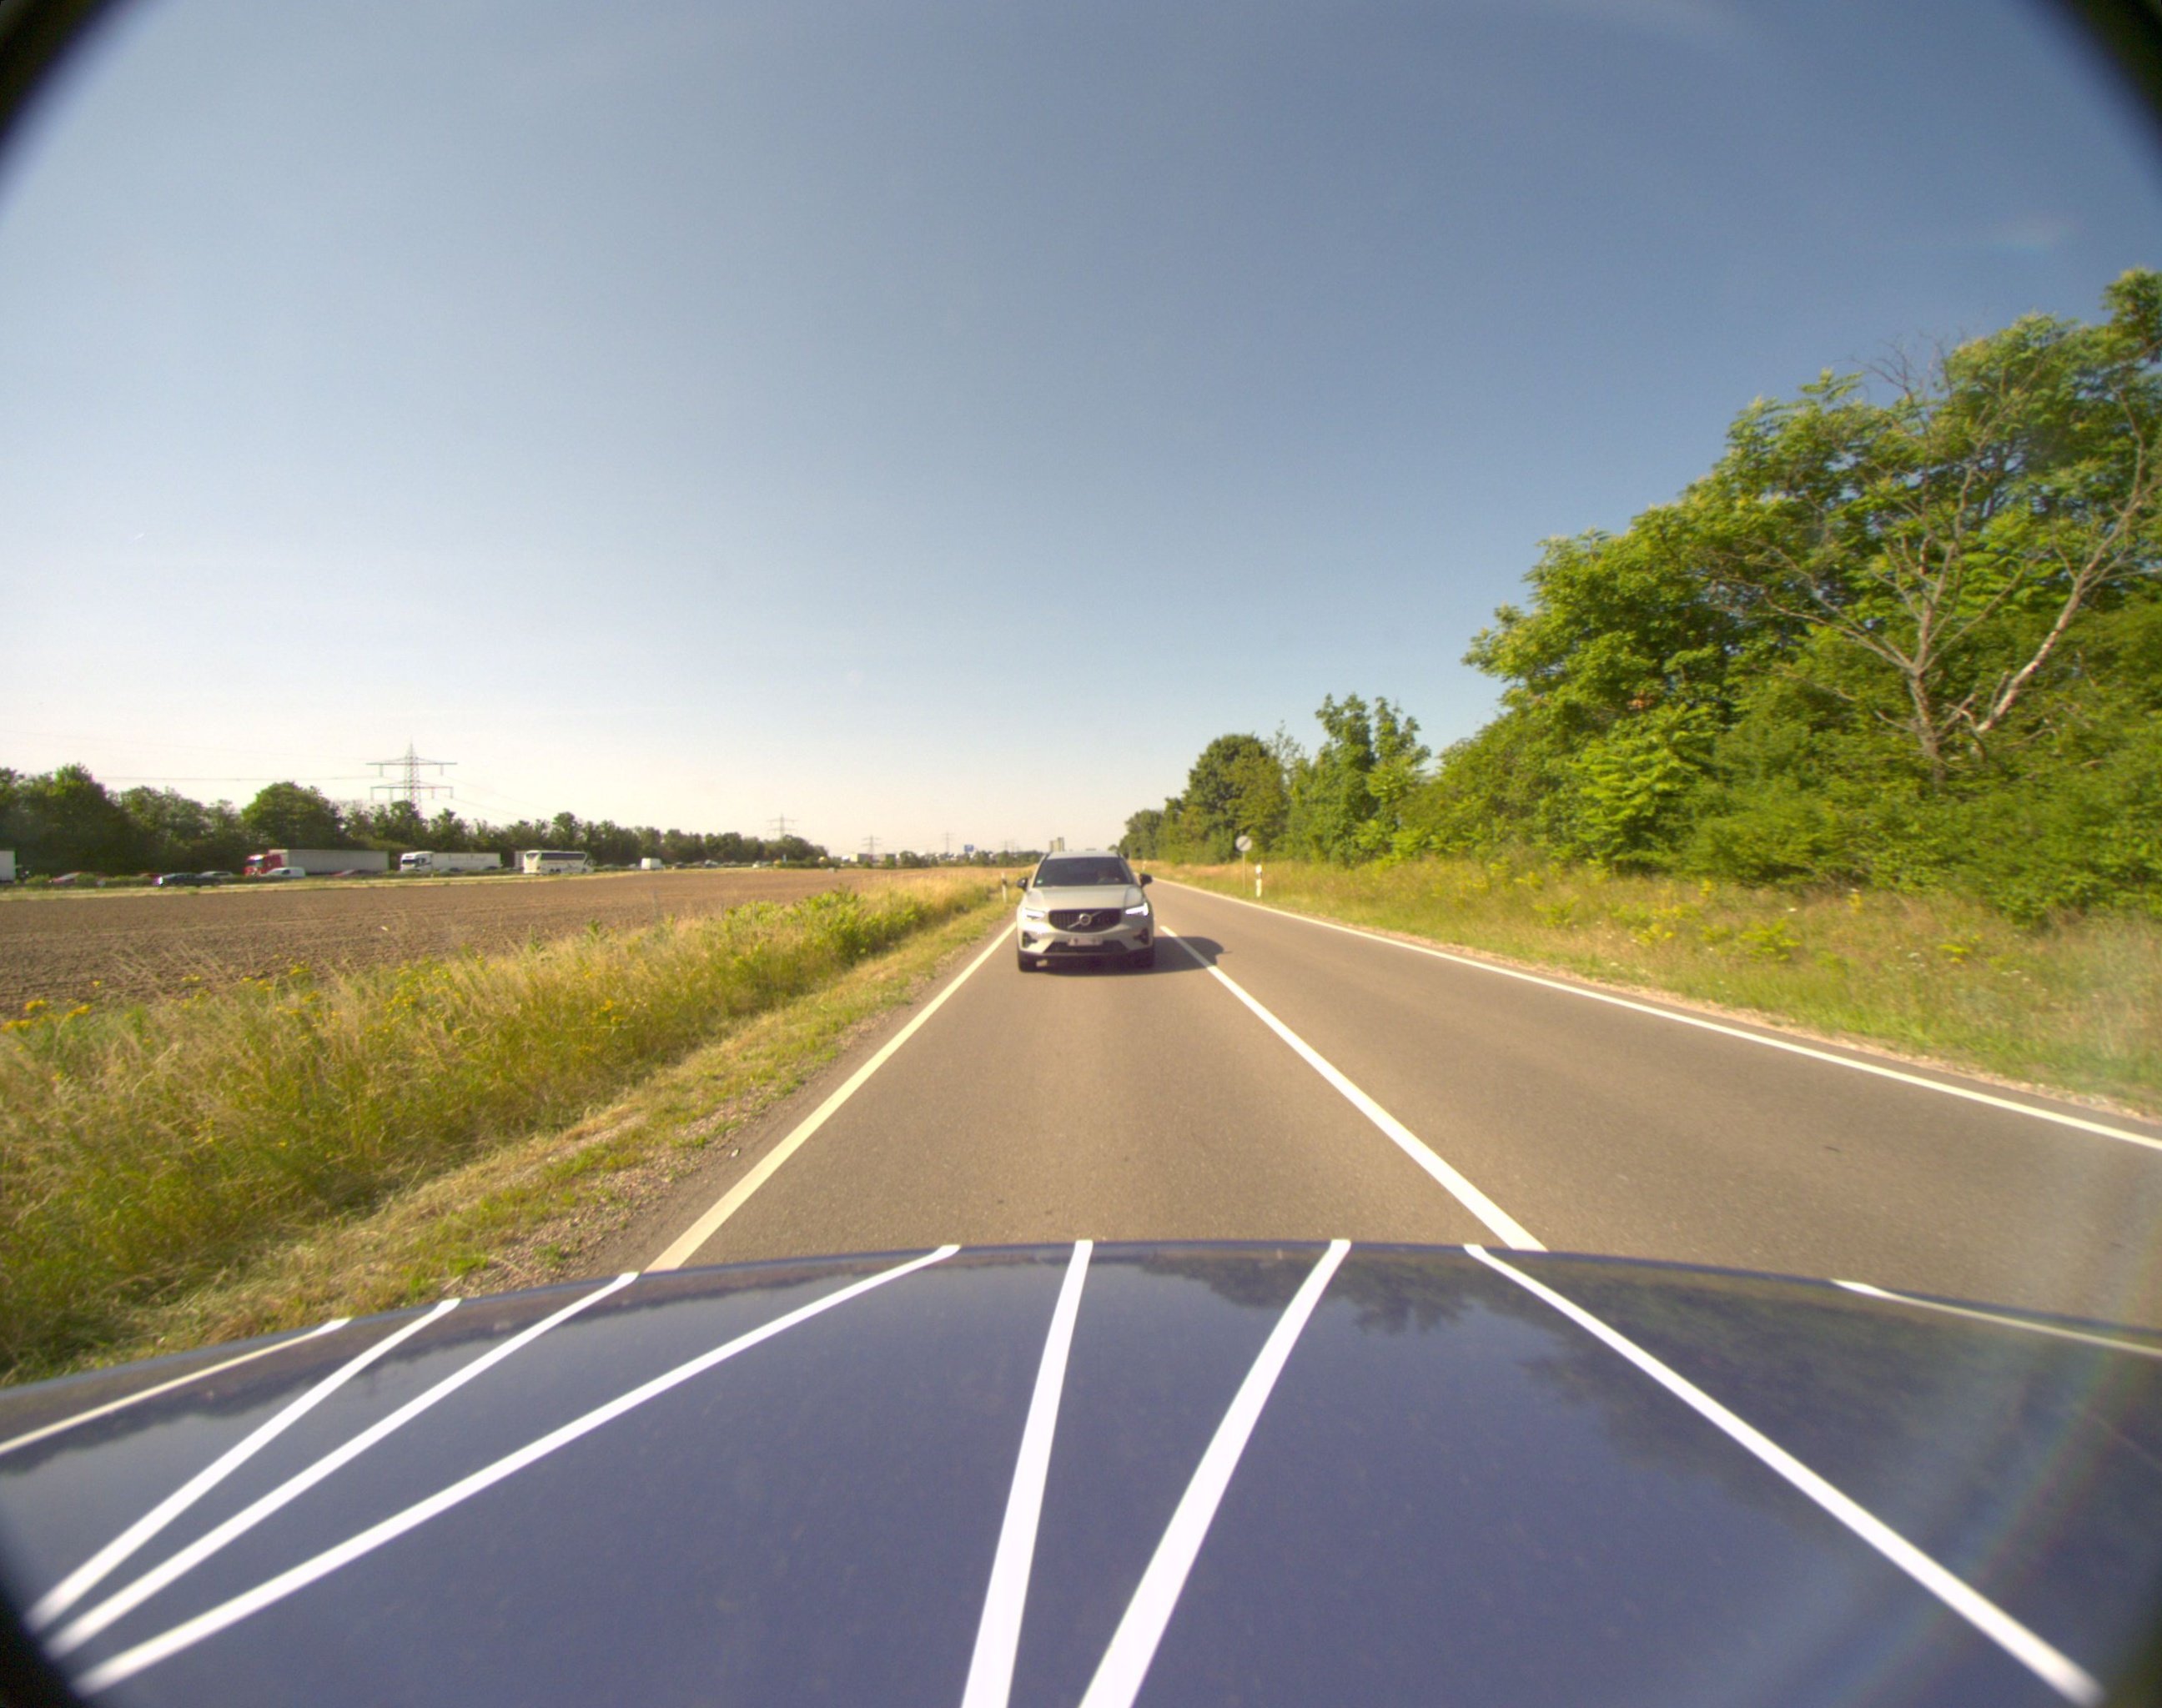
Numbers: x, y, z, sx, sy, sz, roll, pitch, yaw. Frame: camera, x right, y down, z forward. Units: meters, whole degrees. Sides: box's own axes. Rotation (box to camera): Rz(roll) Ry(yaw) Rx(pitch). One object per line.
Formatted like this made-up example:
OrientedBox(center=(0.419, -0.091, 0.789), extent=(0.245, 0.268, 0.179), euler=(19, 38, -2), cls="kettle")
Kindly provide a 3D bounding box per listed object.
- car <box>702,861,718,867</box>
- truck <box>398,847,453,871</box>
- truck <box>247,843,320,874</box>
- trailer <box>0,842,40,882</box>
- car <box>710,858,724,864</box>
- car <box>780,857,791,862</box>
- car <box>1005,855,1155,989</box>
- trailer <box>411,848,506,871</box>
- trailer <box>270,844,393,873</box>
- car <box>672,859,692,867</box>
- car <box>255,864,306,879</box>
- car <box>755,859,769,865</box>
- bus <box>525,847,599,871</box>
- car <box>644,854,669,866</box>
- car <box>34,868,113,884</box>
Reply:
OrientedBox(center=(-86.683, 2.364, 177.639), extent=(1.707, 1.366, 4.094), euler=(-3, 0, 1), cls="car")
OrientedBox(center=(-101.191, 0.779, 117.360), extent=(3.210, 3.510, 6.108), euler=(0, 0, 0), cls="truck")
OrientedBox(center=(-101.453, 0.559, 96.811), extent=(2.953, 3.711, 5.869), euler=(-1, 0, 0), cls="truck")
OrientedBox(center=(-101.336, 0.780, 66.054), extent=(3.079, 3.711, 13.367), euler=(-1, 0, 1), cls="trailer")
OrientedBox(center=(-98.903, 1.938, 206.473), extent=(1.707, 1.500, 4.094), euler=(-3, 0, 0), cls="car")
OrientedBox(center=(-92.620, 1.837, 237.970), extent=(1.707, 1.500, 4.094), euler=(-3, 0, 0), cls="car")
OrientedBox(center=(0.024, 0.864, 11.606), extent=(1.840, 1.628, 4.135), euler=(-2, 0, 1), cls="car")
OrientedBox(center=(-101.197, 0.781, 124.069), extent=(3.210, 3.510, 15.082), euler=(0, 0, 0), cls="trailer")
OrientedBox(center=(-101.440, 0.557, 103.452), extent=(2.953, 3.711, 13.782), euler=(-1, 0, 0), cls="trailer")
OrientedBox(center=(-82.770, 1.847, 157.712), extent=(1.707, 1.464, 4.210), euler=(-3, 0, 1), cls="car")
OrientedBox(center=(-95.172, 2.097, 90.397), extent=(1.707, 1.629, 4.093), euler=(-3, 0, 0), cls="car")
OrientedBox(center=(-81.747, 1.999, 194.572), extent=(1.707, 1.534, 4.196), euler=(-3, 0, 0), cls="car")
OrientedBox(center=(-86.143, 0.872, 126.664), extent=(2.469, 3.781, 14.547), euler=(-1, 0, -1), cls="bus")
OrientedBox(center=(-86.859, 1.204, 155.574), extent=(1.998, 2.358, 5.521), euler=(-3, 0, 0), cls="car")
OrientedBox(center=(-95.917, 2.114, 72.441), extent=(1.855, 1.377, 4.248), euler=(-2, 0, 0), cls="car")
